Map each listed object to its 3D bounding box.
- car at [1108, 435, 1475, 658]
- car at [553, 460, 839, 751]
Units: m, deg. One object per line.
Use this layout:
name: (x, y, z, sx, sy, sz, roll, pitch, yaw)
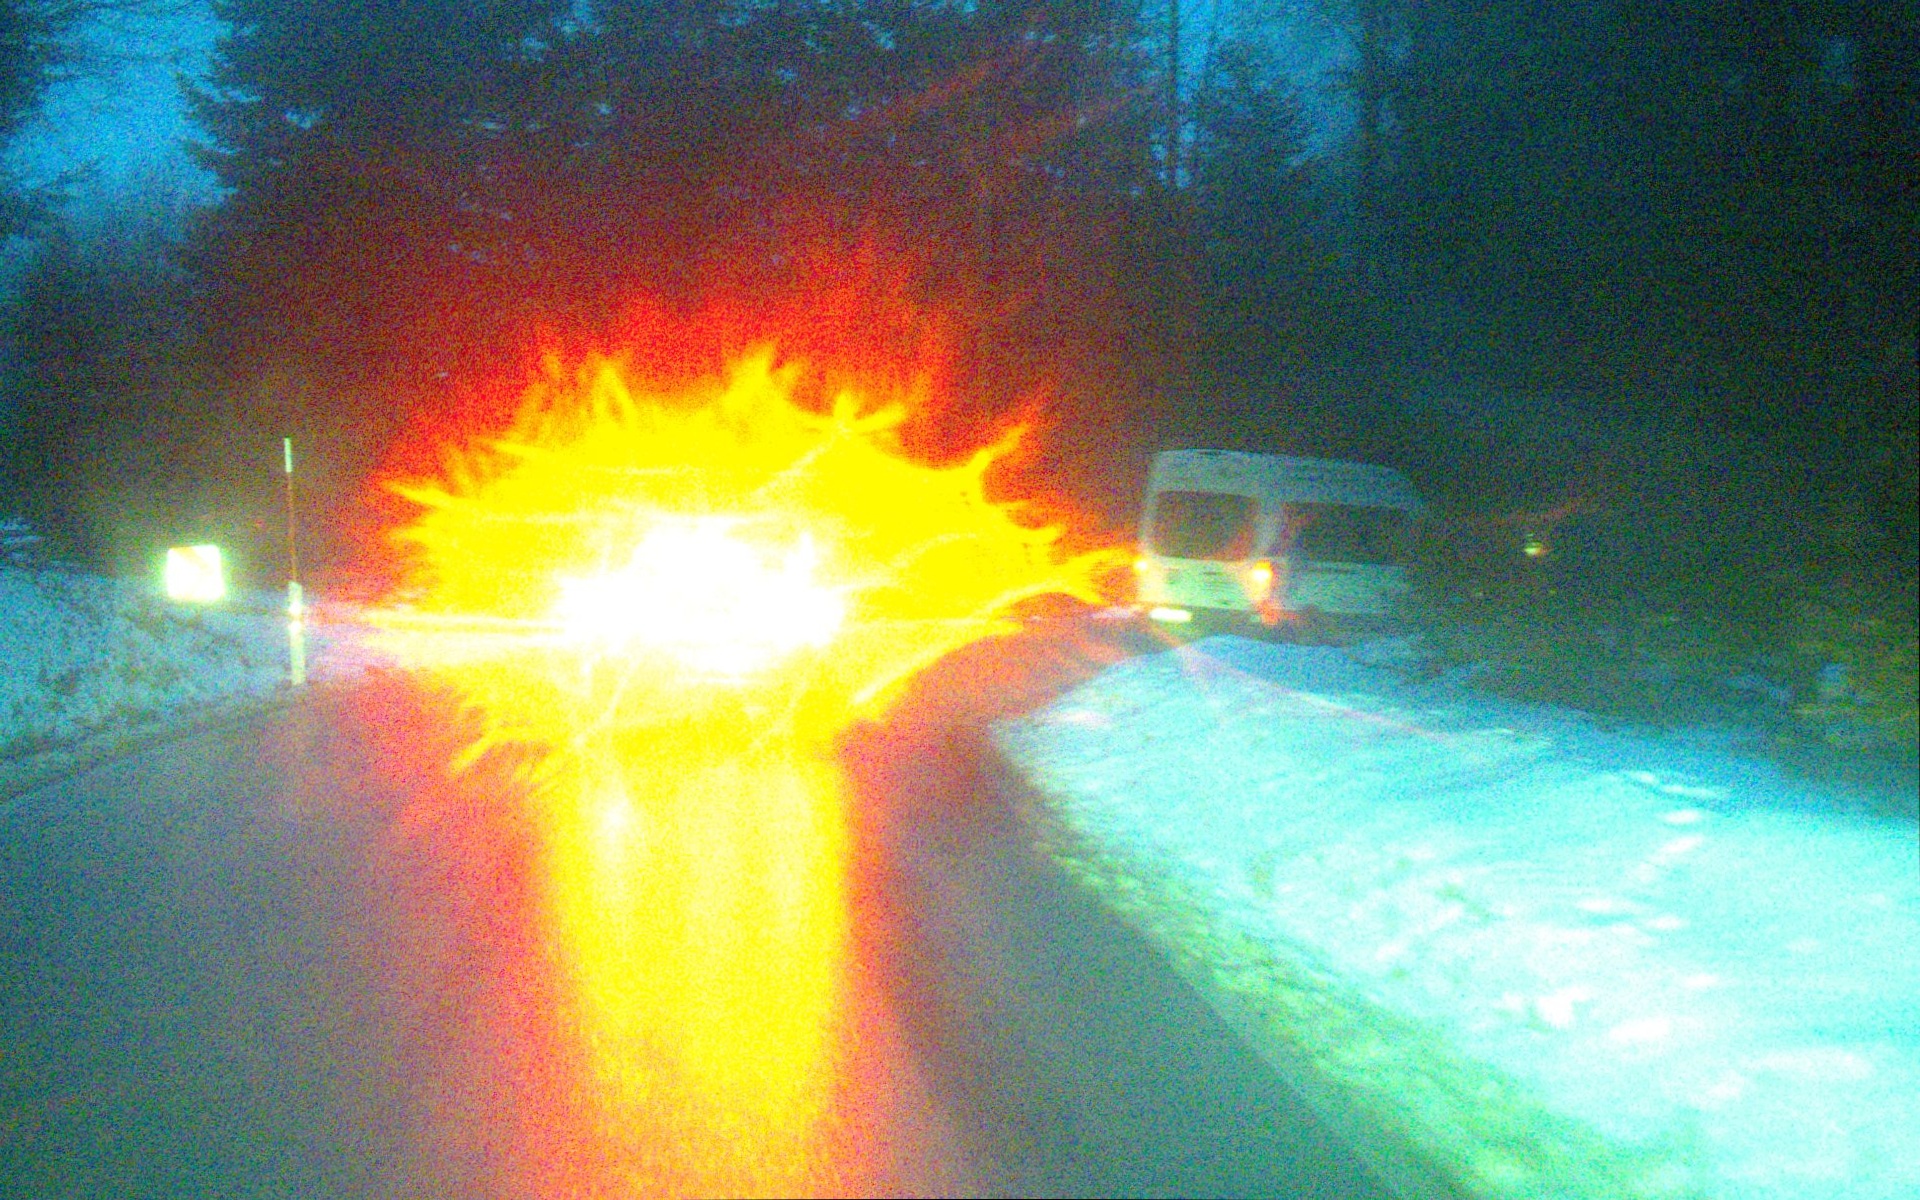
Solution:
car: (4.338, -0.716, 44.368, 2.257, 2.636, 4.995, 4, 3, 38)
car: (-1.956, 0.025, 26.567, 1.993, 2.045, 4.000, -1, 0, -2)
